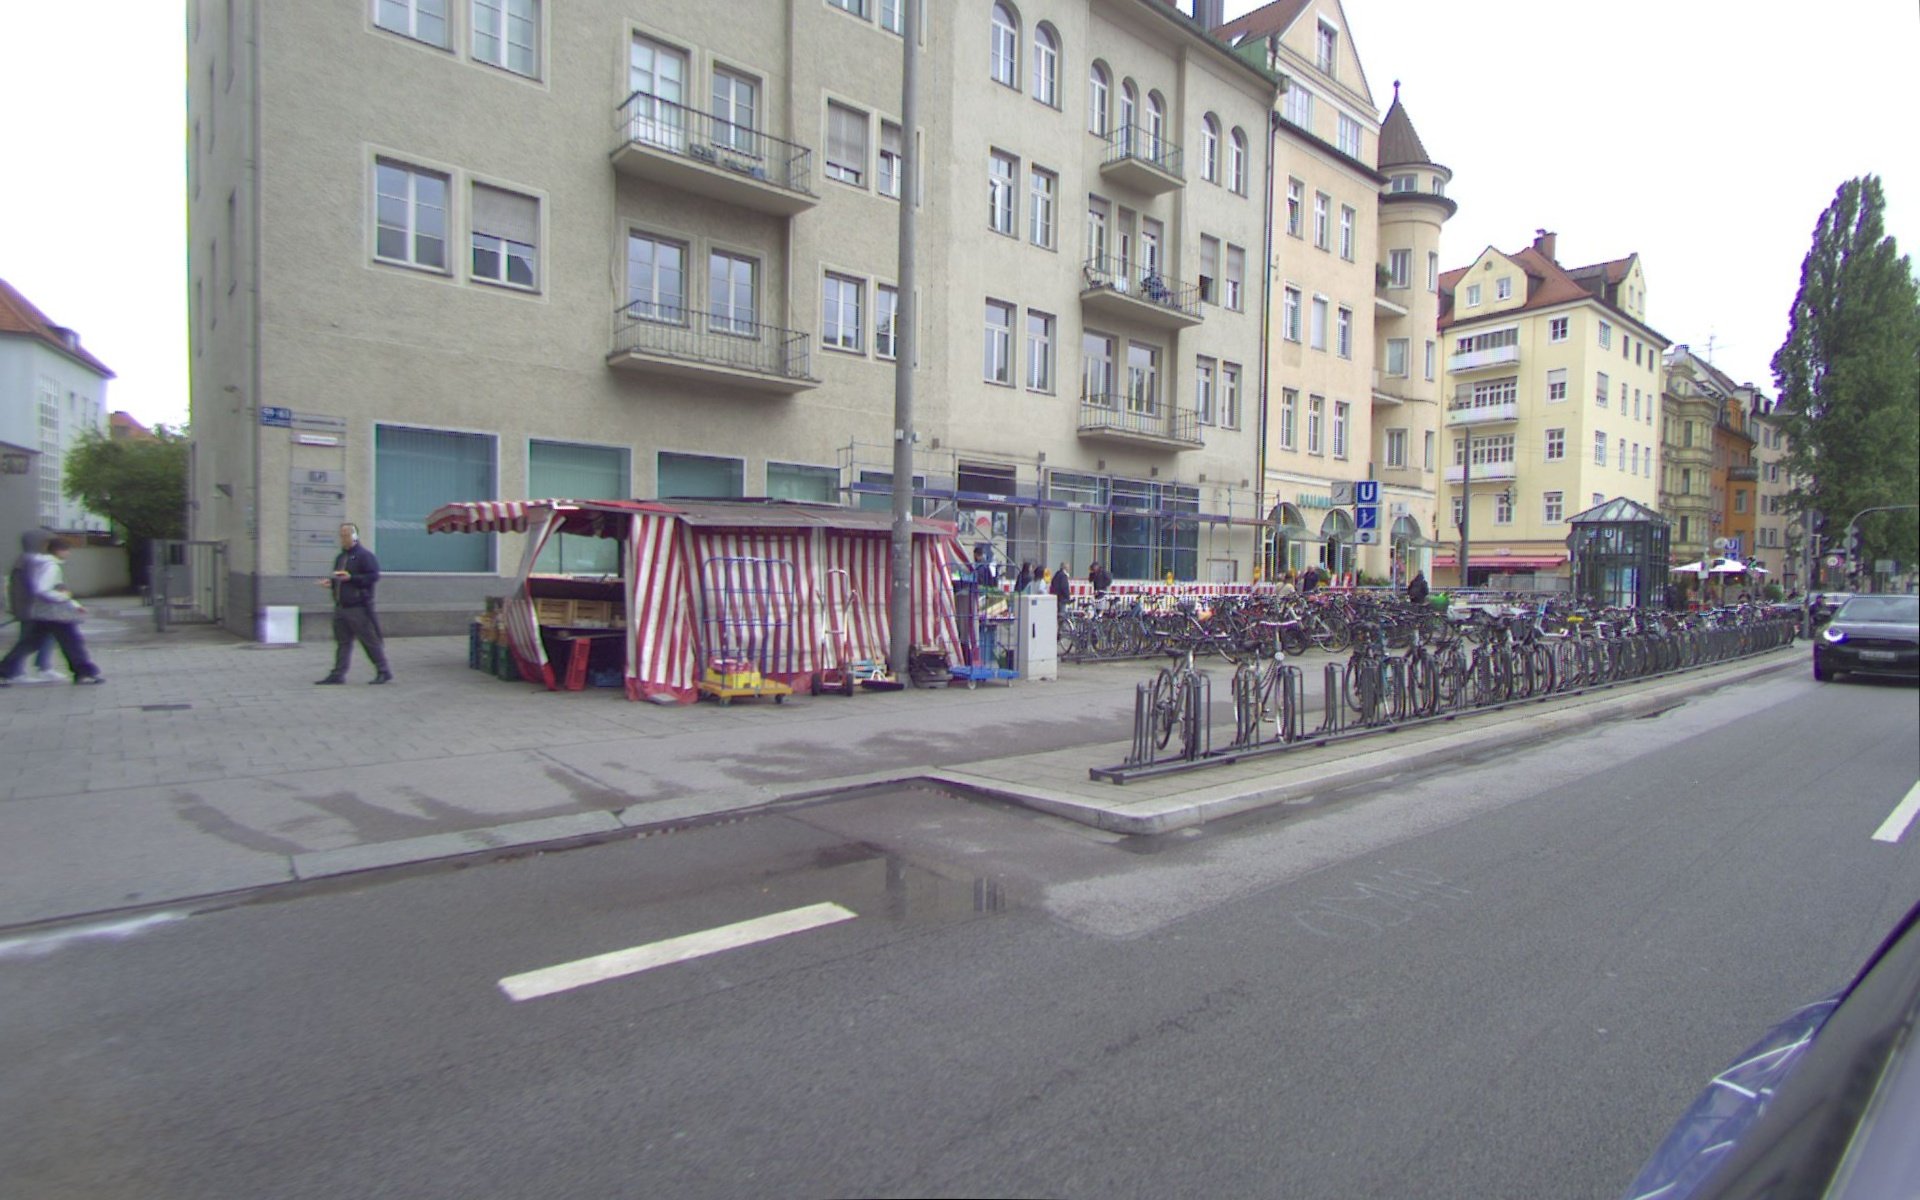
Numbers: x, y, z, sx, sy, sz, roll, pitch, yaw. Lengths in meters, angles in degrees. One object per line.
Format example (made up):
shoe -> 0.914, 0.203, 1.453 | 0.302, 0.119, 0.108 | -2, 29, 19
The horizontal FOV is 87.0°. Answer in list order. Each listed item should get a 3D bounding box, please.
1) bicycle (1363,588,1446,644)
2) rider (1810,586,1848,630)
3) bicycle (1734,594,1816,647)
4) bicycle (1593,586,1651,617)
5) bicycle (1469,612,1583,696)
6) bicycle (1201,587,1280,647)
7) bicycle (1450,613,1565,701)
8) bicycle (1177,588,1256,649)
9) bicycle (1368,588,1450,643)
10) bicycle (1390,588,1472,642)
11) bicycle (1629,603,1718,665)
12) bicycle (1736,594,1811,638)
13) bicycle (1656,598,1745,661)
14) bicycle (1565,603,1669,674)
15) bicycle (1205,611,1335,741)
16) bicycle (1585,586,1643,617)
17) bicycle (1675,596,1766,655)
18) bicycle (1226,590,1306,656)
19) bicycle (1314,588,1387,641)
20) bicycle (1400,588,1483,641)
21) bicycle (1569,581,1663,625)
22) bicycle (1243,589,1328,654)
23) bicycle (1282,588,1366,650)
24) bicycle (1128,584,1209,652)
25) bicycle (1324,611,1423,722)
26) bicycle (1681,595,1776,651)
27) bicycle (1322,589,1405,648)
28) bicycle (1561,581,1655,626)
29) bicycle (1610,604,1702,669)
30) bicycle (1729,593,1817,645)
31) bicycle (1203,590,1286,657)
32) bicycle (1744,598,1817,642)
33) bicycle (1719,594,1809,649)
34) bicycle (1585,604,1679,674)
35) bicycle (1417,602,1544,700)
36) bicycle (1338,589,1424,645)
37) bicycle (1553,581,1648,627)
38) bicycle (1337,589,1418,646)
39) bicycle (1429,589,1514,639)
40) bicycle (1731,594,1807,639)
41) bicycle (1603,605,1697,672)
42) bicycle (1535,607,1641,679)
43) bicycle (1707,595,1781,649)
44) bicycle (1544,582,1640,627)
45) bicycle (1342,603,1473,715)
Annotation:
bicycle -> 9.616, 0.323, 21.939 | 0.402, 1.091, 1.640 | 0, 3, -36
rider -> 26.407, 0.233, 30.755 | 0.721, 1.256, 0.731 | -1, 5, -44
bicycle -> 18.584, 0.448, 23.123 | 0.469, 1.151, 1.679 | 0, 1, -2
bicycle -> 26.370, 0.050, 40.336 | 0.597, 1.141, 1.828 | 2, 2, -28
bicycle -> 7.355, 0.683, 13.242 | 0.379, 1.024, 1.802 | 0, -2, -3
bicycle -> 5.583, 0.330, 20.198 | 1.447, 1.091, 0.404 | 4, 3, 41
bicycle -> 6.855, 0.695, 12.761 | 0.379, 1.024, 1.802 | 0, -2, -3
bicycle -> 5.022, 0.340, 19.899 | 1.447, 1.091, 0.404 | 4, 3, 41
bicycle -> 10.001, 0.328, 22.601 | 0.403, 1.091, 1.624 | -1, 3, -42
bicycle -> 10.610, 0.319, 22.846 | 0.403, 1.091, 1.604 | -1, 3, -42
bicycle -> 13.040, 0.618, 18.552 | 0.390, 1.073, 1.850 | 0, -2, 4
bicycle -> 20.497, 0.410, 25.545 | 0.390, 1.073, 1.851 | 0, -2, 1
bicycle -> 14.519, 0.546, 19.895 | 0.481, 1.151, 1.794 | 0, 1, 3
bicycle -> 10.507, 0.606, 16.263 | 0.389, 1.073, 1.802 | 0, -2, -3
bicycle -> 2.783, 0.651, 9.276 | 0.536, 1.068, 1.802 | 0, -2, -3
bicycle -> 25.834, 0.061, 39.982 | 0.597, 1.141, 1.828 | 2, 2, -28
bicycle -> 15.929, 0.507, 21.259 | 0.480, 1.151, 1.797 | 0, 1, -3
bicycle -> 5.582, 0.392, 18.531 | 0.402, 1.091, 1.454 | 0, 3, -33
bicycle -> 8.967, 0.318, 23.287 | 0.403, 1.091, 1.528 | -1, 3, -42
bicycle -> 10.971, 0.311, 23.107 | 0.403, 1.091, 1.654 | -1, 3, -42
bicycle -> 20.279, 0.074, 31.336 | 0.617, 1.242, 2.318 | 0, 2, -38
bicycle -> 6.063, 0.381, 18.892 | 1.447, 1.091, 0.404 | 4, 3, 41
bicycle -> 7.067, 0.357, 19.676 | 1.447, 1.091, 0.404 | 4, 3, 41
bicycle -> 3.820, 0.306, 18.649 | 0.402, 1.116, 1.636 | 0, 3, -32
bicycle -> 4.302, 0.665, 10.636 | 0.360, 1.068, 1.800 | 0, -2, 3
bicycle -> 16.818, 0.480, 22.204 | 0.578, 1.151, 1.798 | 0, 1, -5
bicycle -> 8.311, 0.361, 20.894 | 0.403, 1.091, 1.538 | -1, 3, -42
bicycle -> 19.739, 0.087, 30.882 | 0.617, 1.242, 2.318 | 0, 2, -38
bicycle -> 12.081, 0.631, 17.628 | 0.390, 1.073, 1.850 | 0, -2, 4
bicycle -> 19.039, 0.431, 23.745 | 0.468, 1.151, 1.788 | 0, 1, -7
bicycle -> 5.134, 0.399, 18.337 | 0.402, 1.091, 1.484 | 0, 3, -36
bicycle -> 21.021, 0.522, 25.972 | 0.390, 1.073, 1.851 | 0, -2, 1
bicycle -> 17.972, 0.462, 22.667 | 0.468, 1.151, 1.681 | 0, 1, -11
bicycle -> 11.022, 0.632, 16.672 | 0.390, 1.073, 1.850 | 0, -2, 4
bicycle -> 6.355, 0.606, 12.470 | 0.536, 1.119, 1.802 | 0, -2, -3
bicycle -> 9.057, 0.343, 21.829 | 0.403, 1.091, 1.660 | -1, 3, -42
bicycle -> 19.249, 0.100, 30.451 | 0.617, 1.242, 2.318 | 0, 2, -38
bicycle -> 8.755, 0.350, 21.265 | 0.403, 1.091, 1.527 | -1, 3, -42
bicycle -> 11.935, 0.324, 23.633 | 1.728, 1.091, 0.410 | 2, 2, -1
bicycle -> 19.982, 0.429, 25.045 | 0.390, 1.073, 1.851 | 0, -2, 1
bicycle -> 11.606, 0.646, 17.086 | 0.390, 1.073, 1.850 | 0, -2, 4
bicycle -> 9.433, 0.635, 15.273 | 0.379, 1.024, 1.802 | 0, -2, -3
bicycle -> 17.484, 0.467, 22.600 | 0.341, 1.151, 1.527 | 0, 1, -5
bicycle -> 18.747, 0.111, 30.081 | 0.617, 1.242, 2.318 | 0, 2, -38
bicycle -> 4.847, 0.616, 11.092 | 0.536, 1.119, 1.802 | 0, -2, -3
